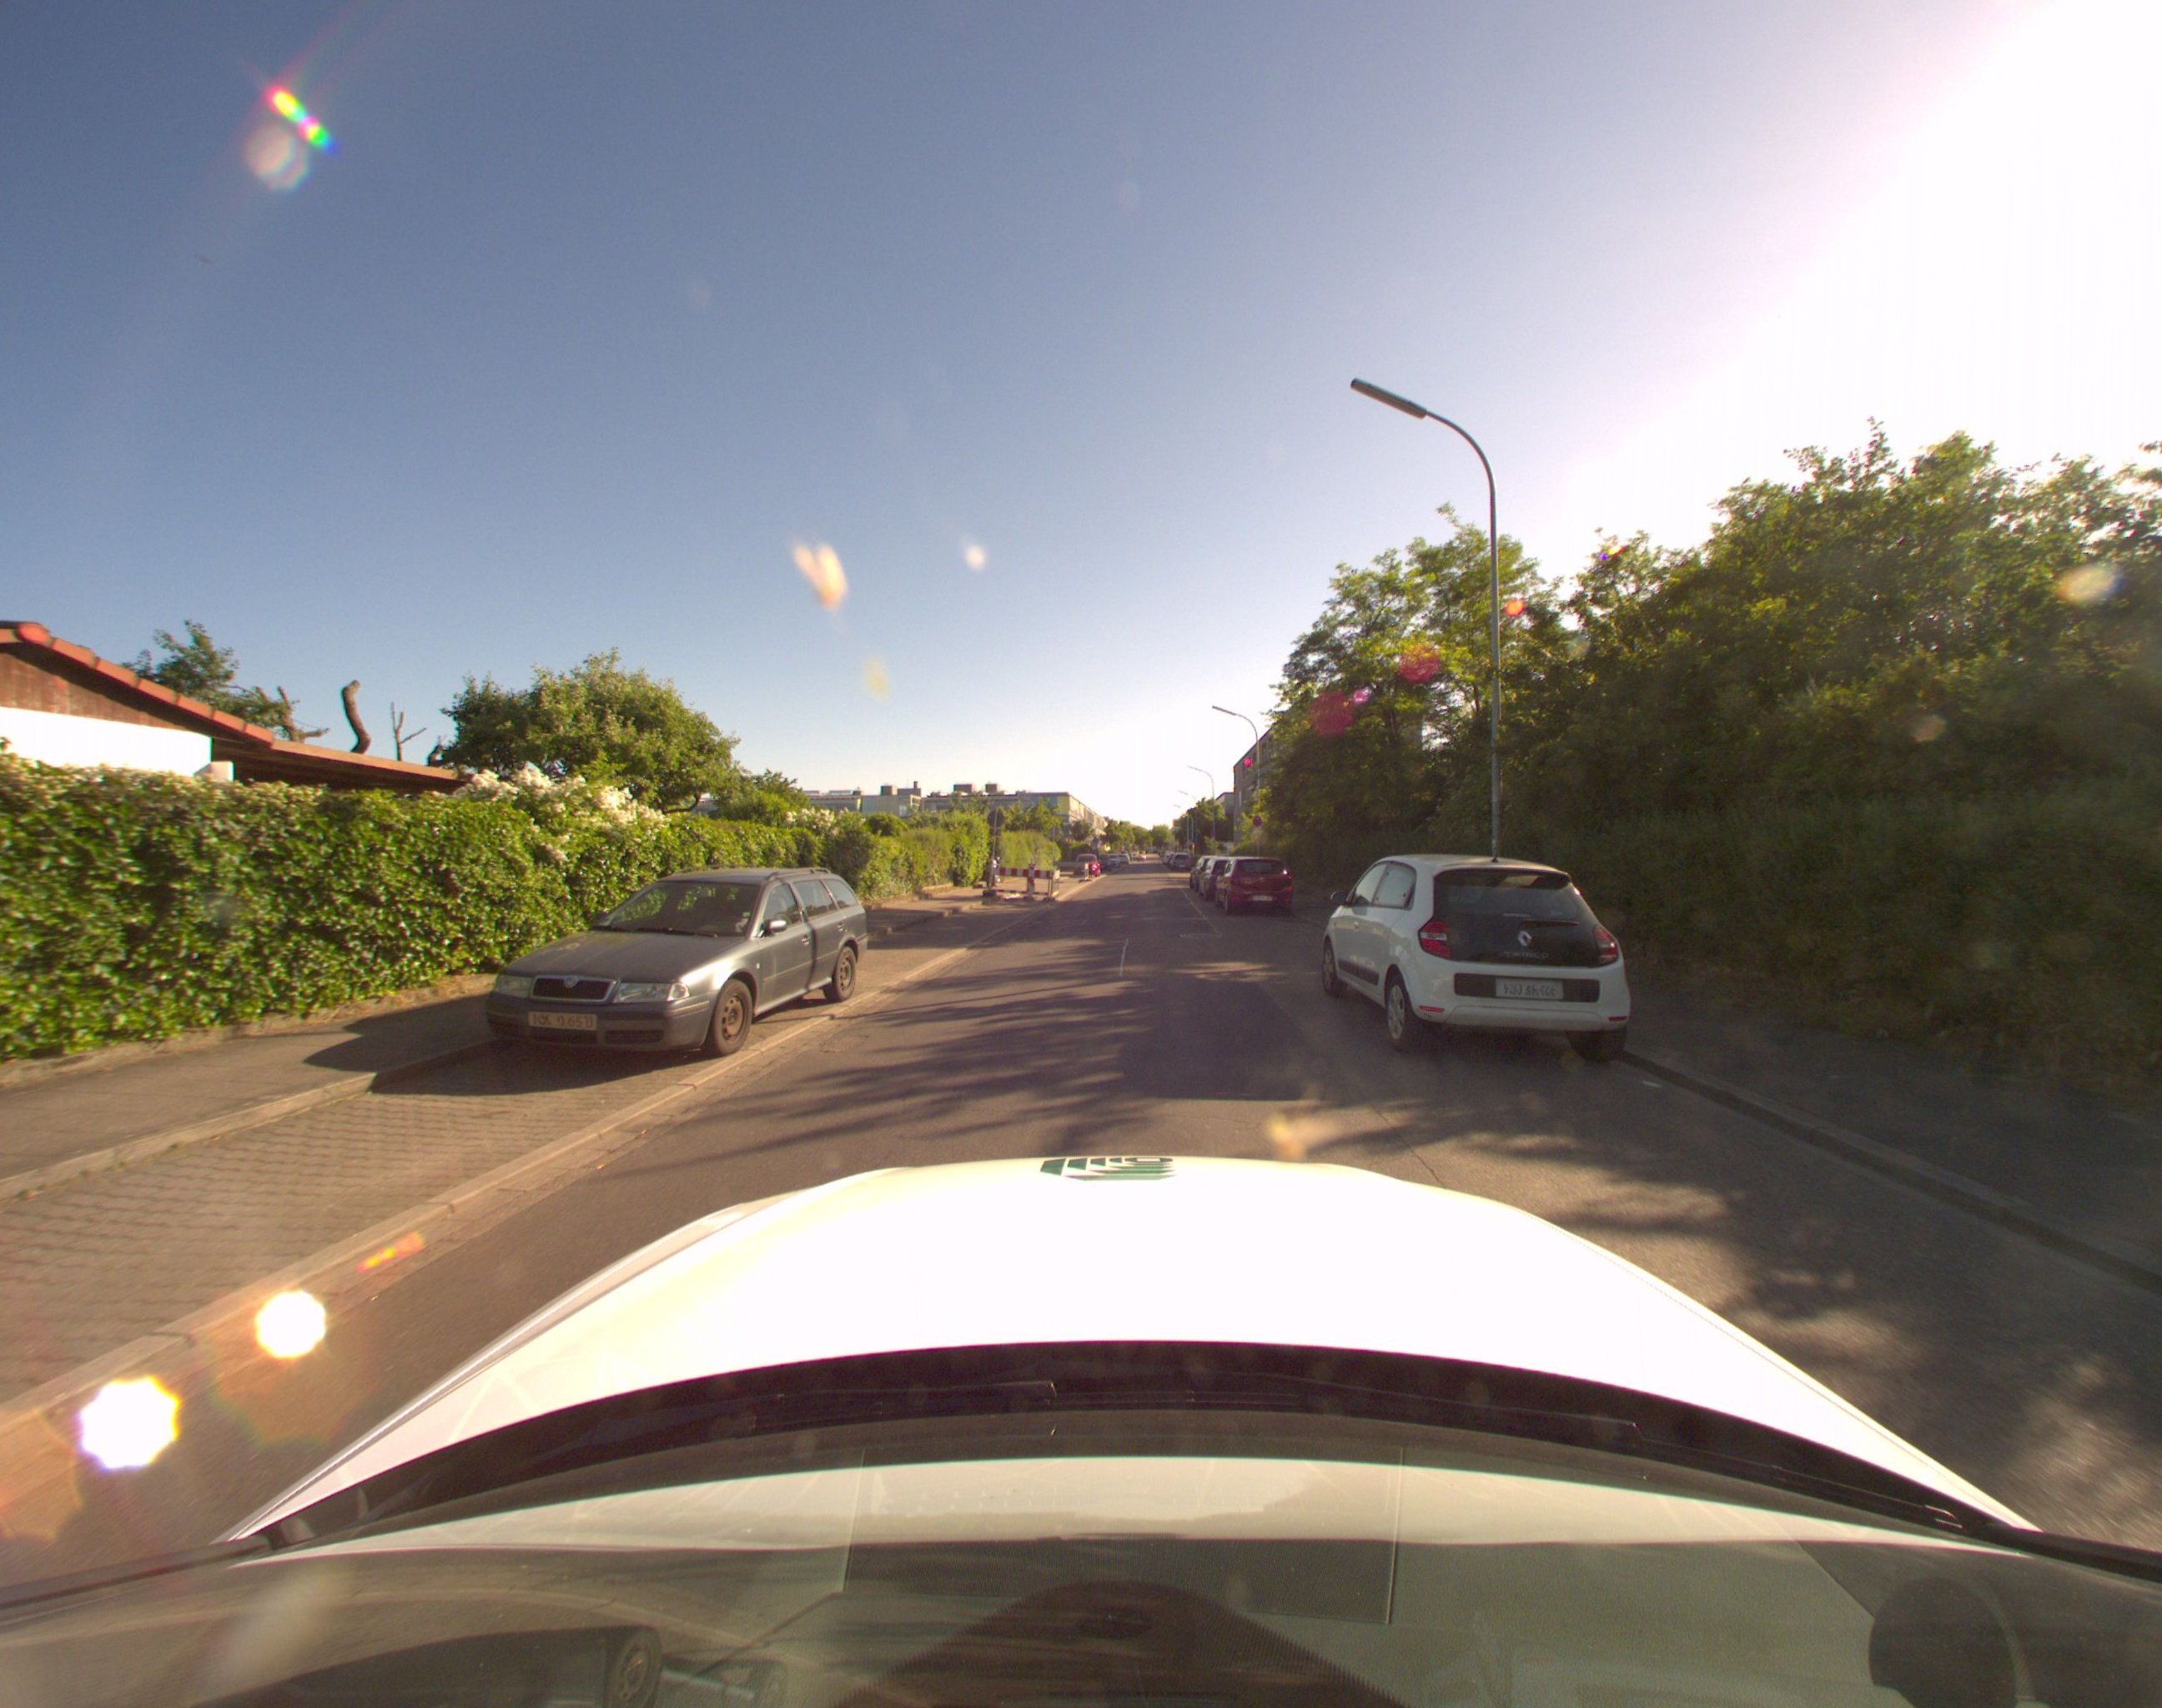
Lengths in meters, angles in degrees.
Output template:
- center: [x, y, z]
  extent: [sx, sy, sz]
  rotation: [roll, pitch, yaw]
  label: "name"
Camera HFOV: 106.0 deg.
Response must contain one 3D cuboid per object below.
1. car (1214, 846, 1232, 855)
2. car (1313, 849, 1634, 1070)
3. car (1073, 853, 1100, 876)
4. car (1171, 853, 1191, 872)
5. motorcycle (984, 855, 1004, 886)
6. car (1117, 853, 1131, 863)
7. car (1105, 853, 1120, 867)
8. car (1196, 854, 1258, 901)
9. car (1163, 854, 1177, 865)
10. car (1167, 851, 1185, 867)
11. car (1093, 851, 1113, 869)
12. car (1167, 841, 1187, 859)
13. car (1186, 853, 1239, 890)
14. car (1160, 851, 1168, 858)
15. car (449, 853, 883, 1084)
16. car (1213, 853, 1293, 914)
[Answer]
- center: [25.675, -0.676, 147.227]
  extent: [3.198, 1.549, 1.453]
  rotation: [1, 0, 7]
  label: "car"
- center: [3.343, 0.758, 7.686]
  extent: [1.548, 1.538, 3.560]
  rotation: [2, 0, 5]
  label: "car"
- center: [0.404, 0.674, 54.482]
  extent: [1.552, 1.495, 3.575]
  rotation: [-1, 0, 5]
  label: "car"
- center: [8.645, 0.738, 70.389]
  extent: [1.614, 1.526, 3.908]
  rotation: [2, 0, 6]
  label: "car"
- center: [-3.616, 0.678, 33.871]
  extent: [0.564, 1.268, 2.091]
  rotation: [1, -1, 1]
  label: "motorcycle"
- center: [6.325, 0.527, 119.040]
  extent: [1.846, 1.428, 4.139]
  rotation: [1, 0, 5]
  label: "car"
- center: [3.496, 0.659, 89.815]
  extent: [1.552, 1.495, 3.763]
  rotation: [-1, 0, 5]
  label: "car"
- center: [5.024, 0.753, 28.549]
  extent: [1.647, 1.444, 4.661]
  rotation: [2, 0, 4]
  label: "car"
- center: [11.972, 0.678, 109.517]
  extent: [1.733, 1.428, 4.139]
  rotation: [1, 0, 5]
  label: "car"
- center: [9.927, 0.539, 85.570]
  extent: [1.733, 1.625, 4.184]
  rotation: [1, 0, 5]
  label: "car"
- center: [1.965, 0.540, 72.816]
  extent: [1.552, 1.494, 3.575]
  rotation: [2, 0, 5]
  label: "car"
- center: [8.896, -0.338, 75.688]
  extent: [1.669, 1.608, 4.183]
  rotation: [2, 0, 4]
  label: "car"
- center: [5.526, 0.689, 34.684]
  extent: [1.746, 1.413, 4.661]
  rotation: [2, 0, 4]
  label: "car"
- center: [18.356, 0.126, 180.147]
  extent: [1.438, 1.549, 3.618]
  rotation: [1, 0, 4]
  label: "car"
- center: [-3.480, 0.802, 7.958]
  extent: [1.636, 1.556, 4.423]
  rotation: [2, 0, 5]
  label: "car"
- center: [4.645, 0.742, 22.453]
  extent: [1.647, 1.486, 3.843]
  rotation: [2, 0, 4]
  label: "car"
